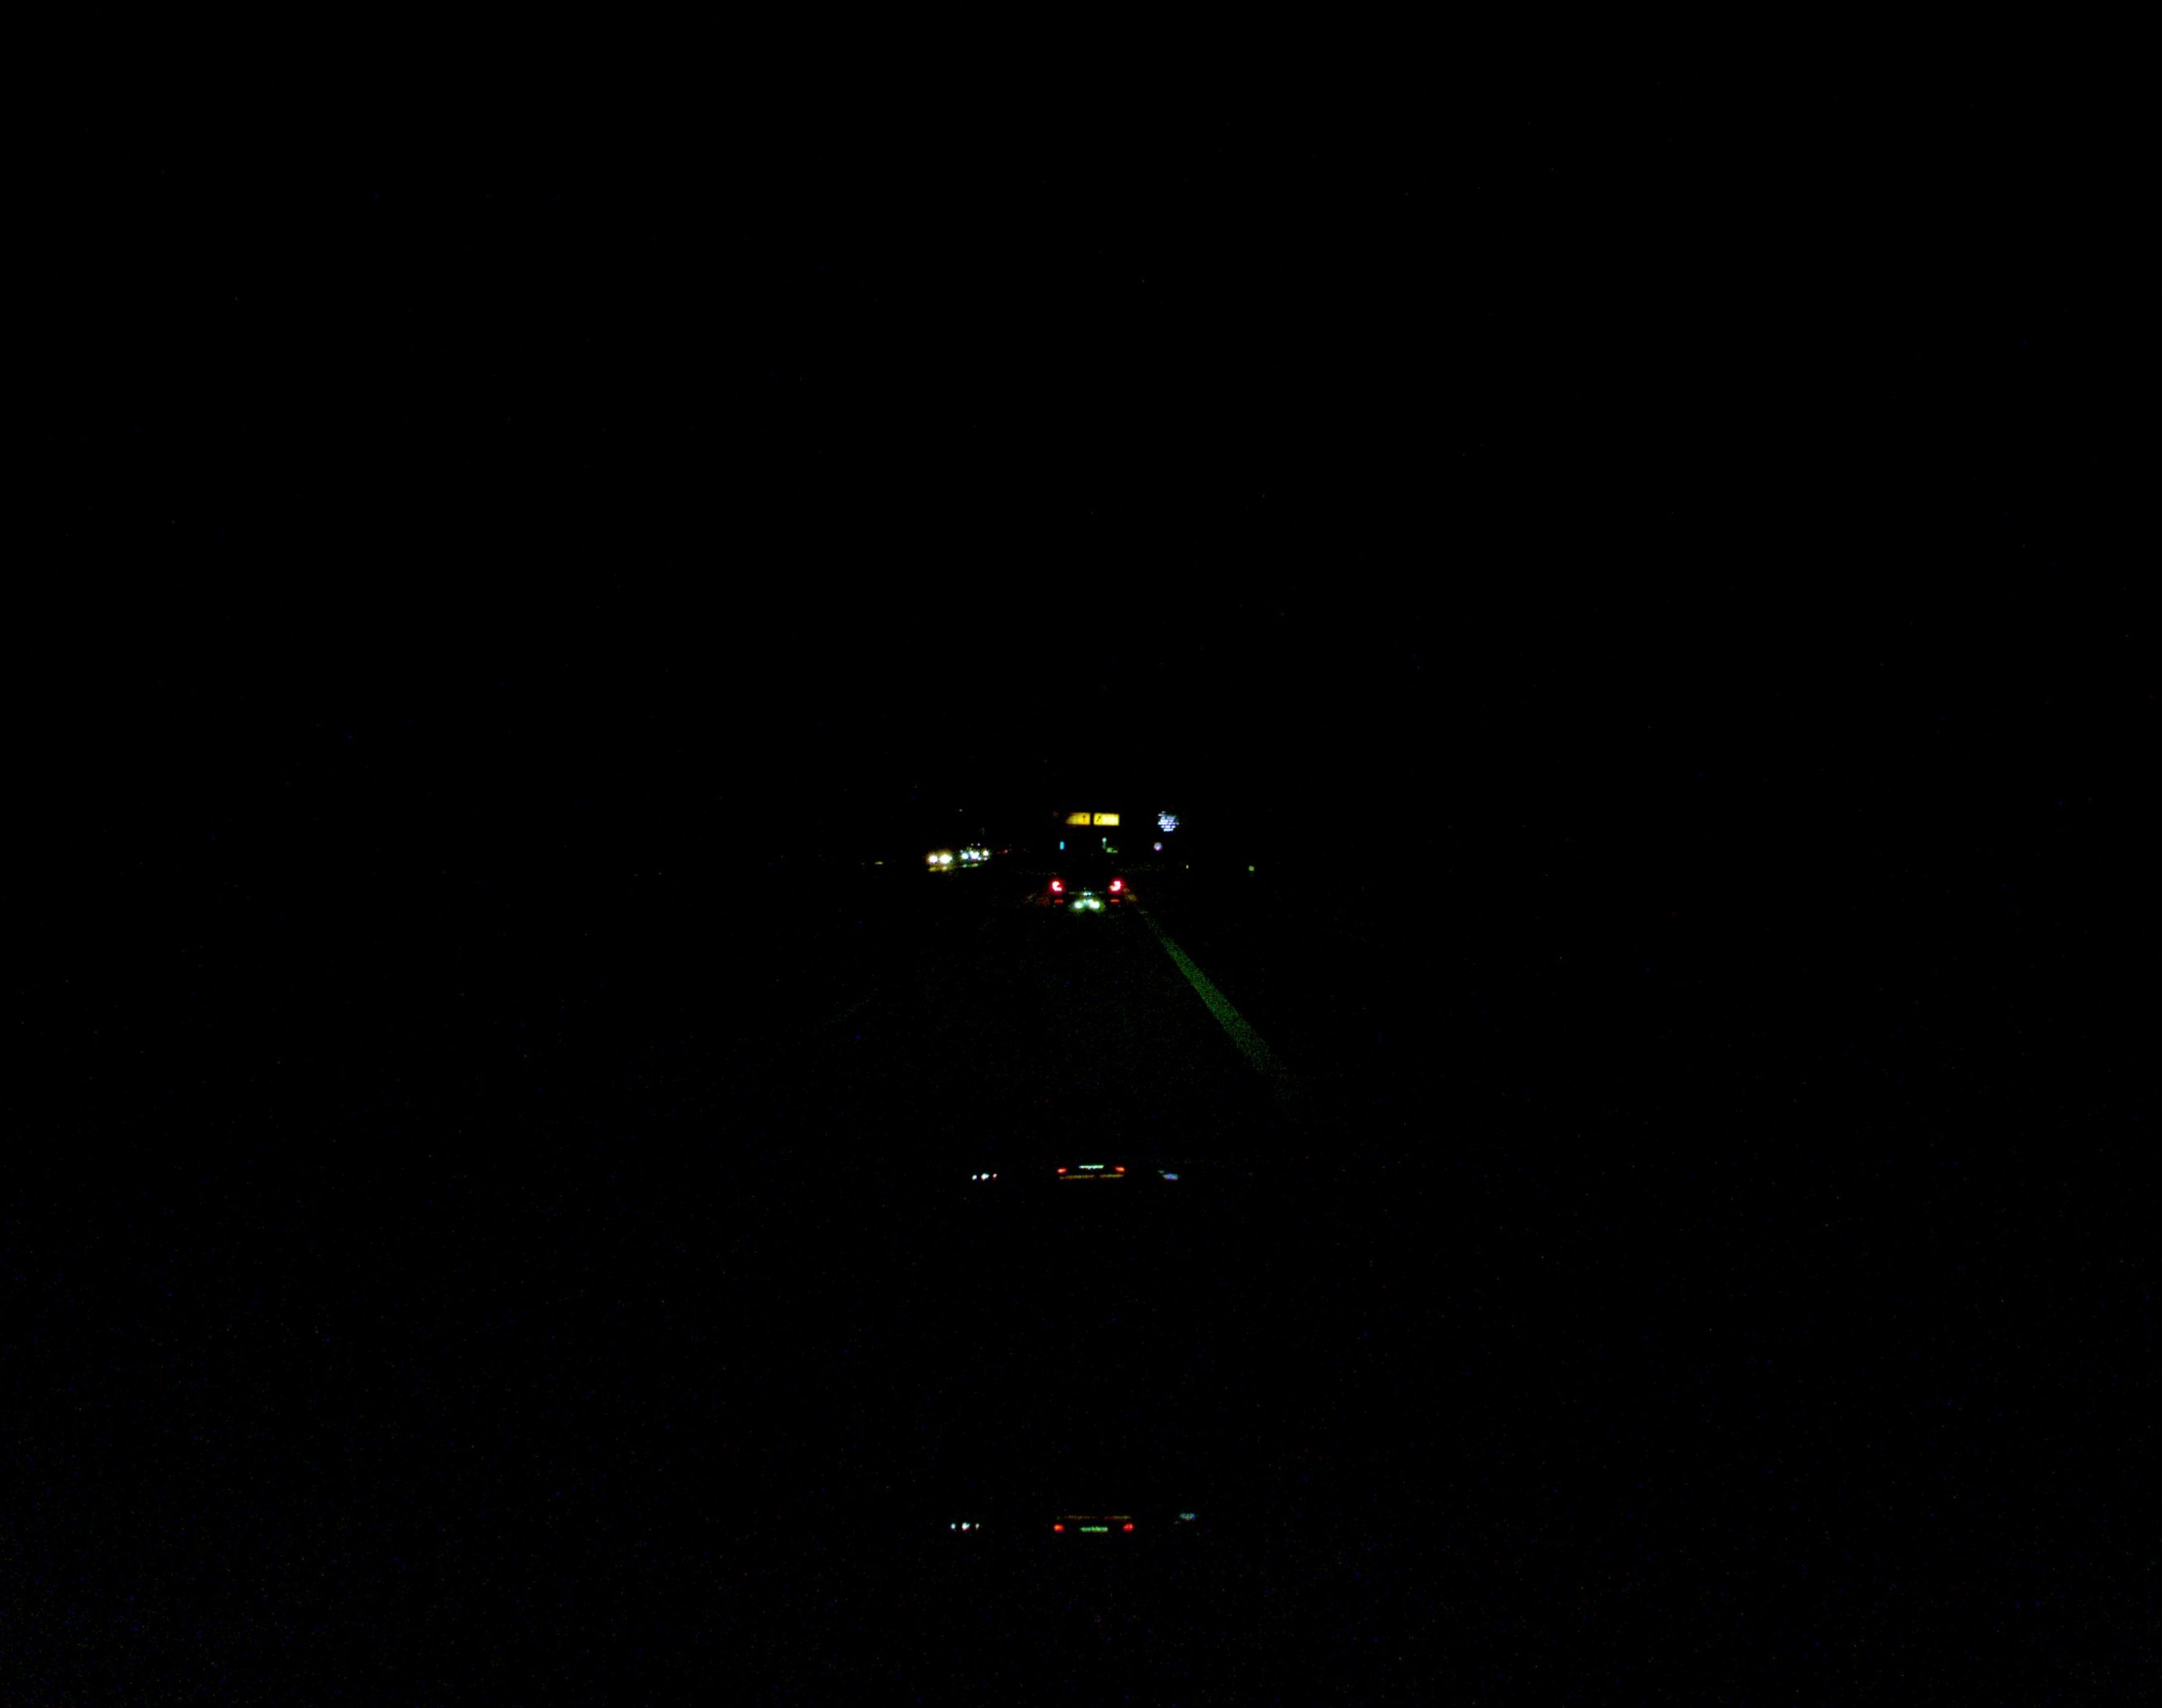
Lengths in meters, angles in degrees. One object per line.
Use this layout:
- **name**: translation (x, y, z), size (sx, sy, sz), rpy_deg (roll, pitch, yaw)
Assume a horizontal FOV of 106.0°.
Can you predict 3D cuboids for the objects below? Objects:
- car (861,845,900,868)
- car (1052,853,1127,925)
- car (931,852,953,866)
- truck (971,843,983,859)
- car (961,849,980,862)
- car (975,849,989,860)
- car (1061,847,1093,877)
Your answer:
- **car**: translation (-14.937, 0.204, 60.794), size (1.855, 1.515, 3.999), rpy_deg (3, 0, 0)
- **car**: translation (0.155, 0.745, 19.340), size (1.583, 1.508, 3.998), rpy_deg (-1, 0, -1)
- **car**: translation (-15.340, 0.500, 89.879), size (1.723, 1.517, 4.157), rpy_deg (0, 0, 0)
- **truck**: translation (-28.420, -0.876, 221.841), size (2.625, 4.232, 8.567), rpy_deg (3, 0, -9)
- **car**: translation (-15.453, 0.140, 114.277), size (1.961, 1.763, 5.031), rpy_deg (0, 0, 0)
- **car**: translation (-18.855, 0.122, 155.439), size (2.357, 2.013, 5.026), rpy_deg (0, 0, -4)
- **car**: translation (-0.221, 0.478, 50.786), size (1.900, 1.698, 4.000), rpy_deg (2, 0, 0)
